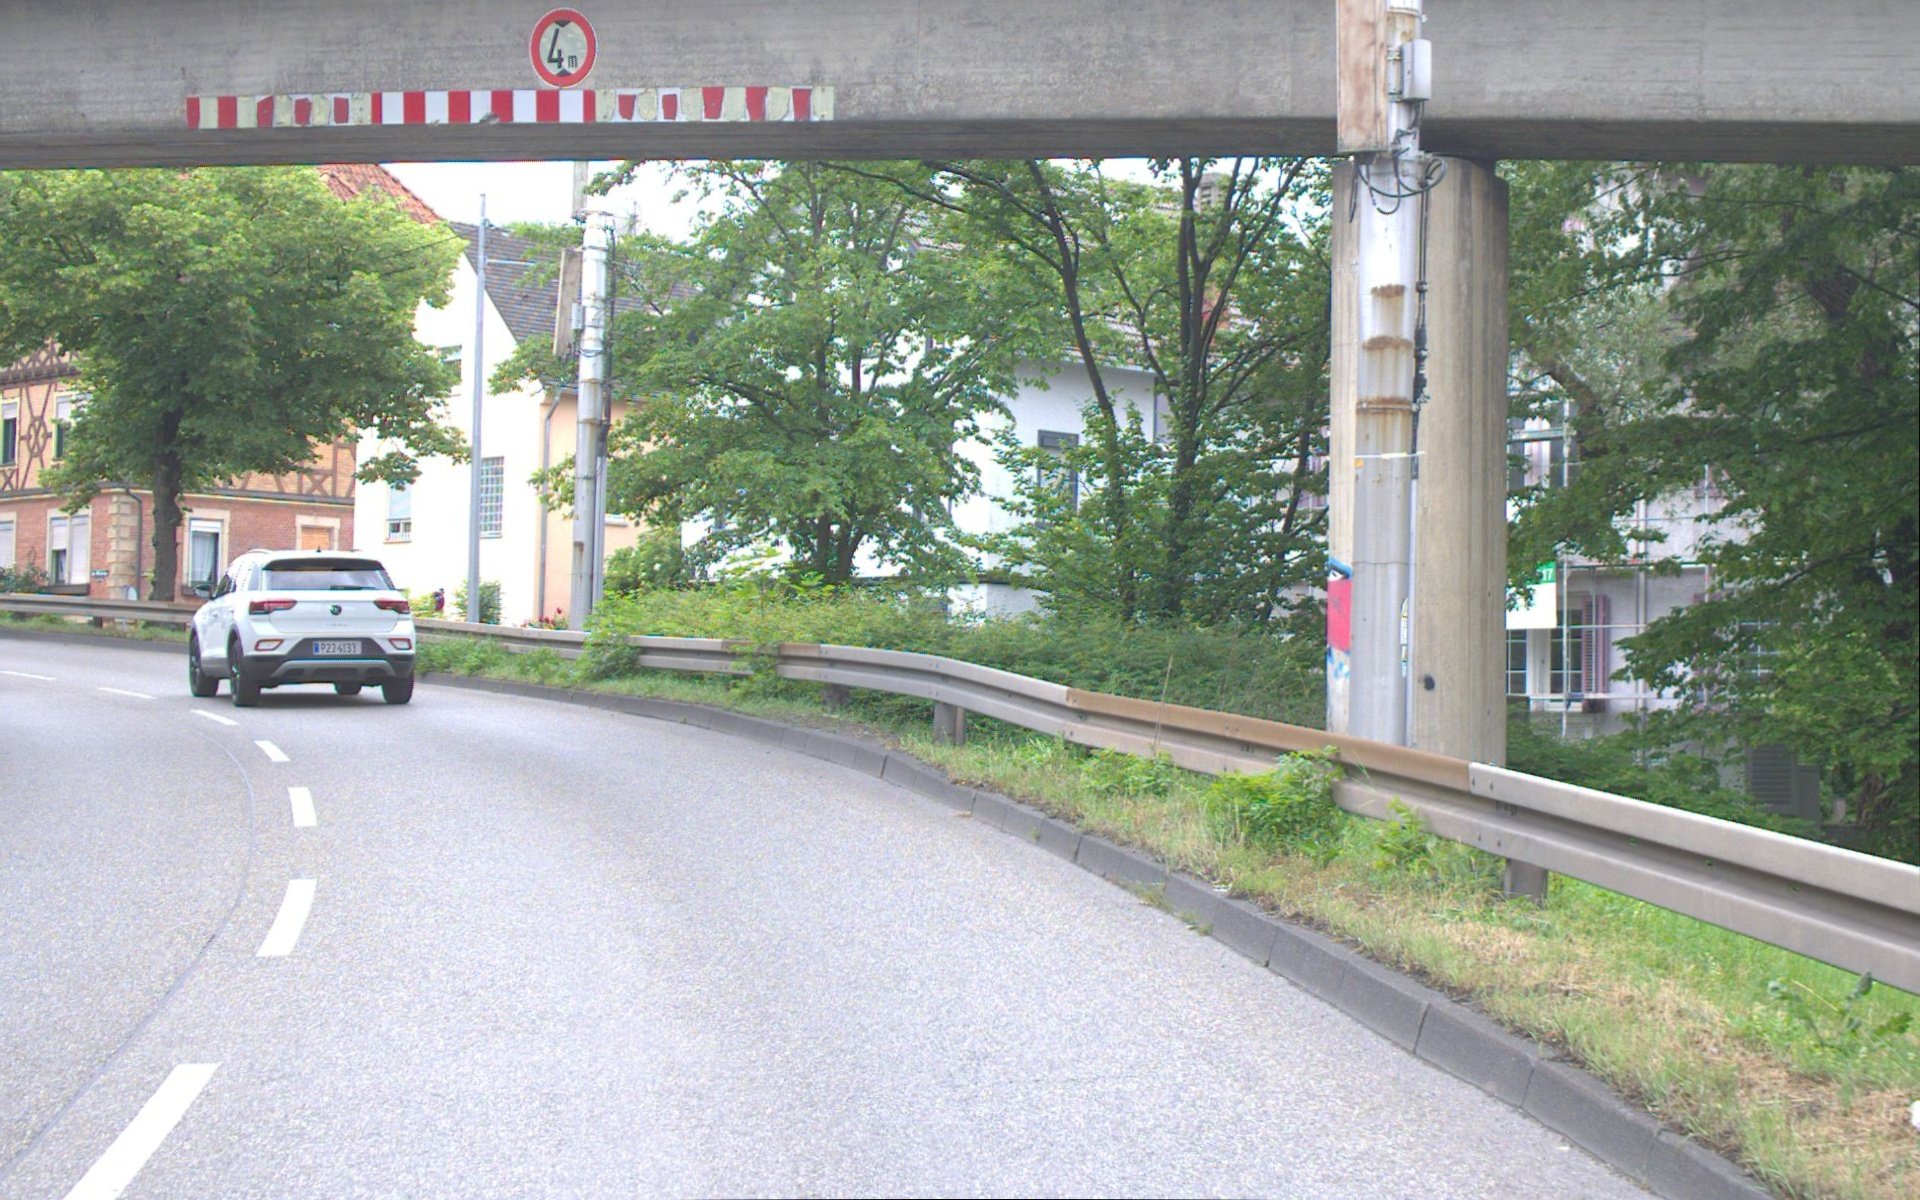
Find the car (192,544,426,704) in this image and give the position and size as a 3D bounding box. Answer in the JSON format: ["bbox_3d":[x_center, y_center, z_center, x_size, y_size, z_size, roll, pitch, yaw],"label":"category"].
[{"bbox_3d":[-6.729,0.211,35.302,1.796,1.513,3.458,0,1,-20],"label":"car"}]
